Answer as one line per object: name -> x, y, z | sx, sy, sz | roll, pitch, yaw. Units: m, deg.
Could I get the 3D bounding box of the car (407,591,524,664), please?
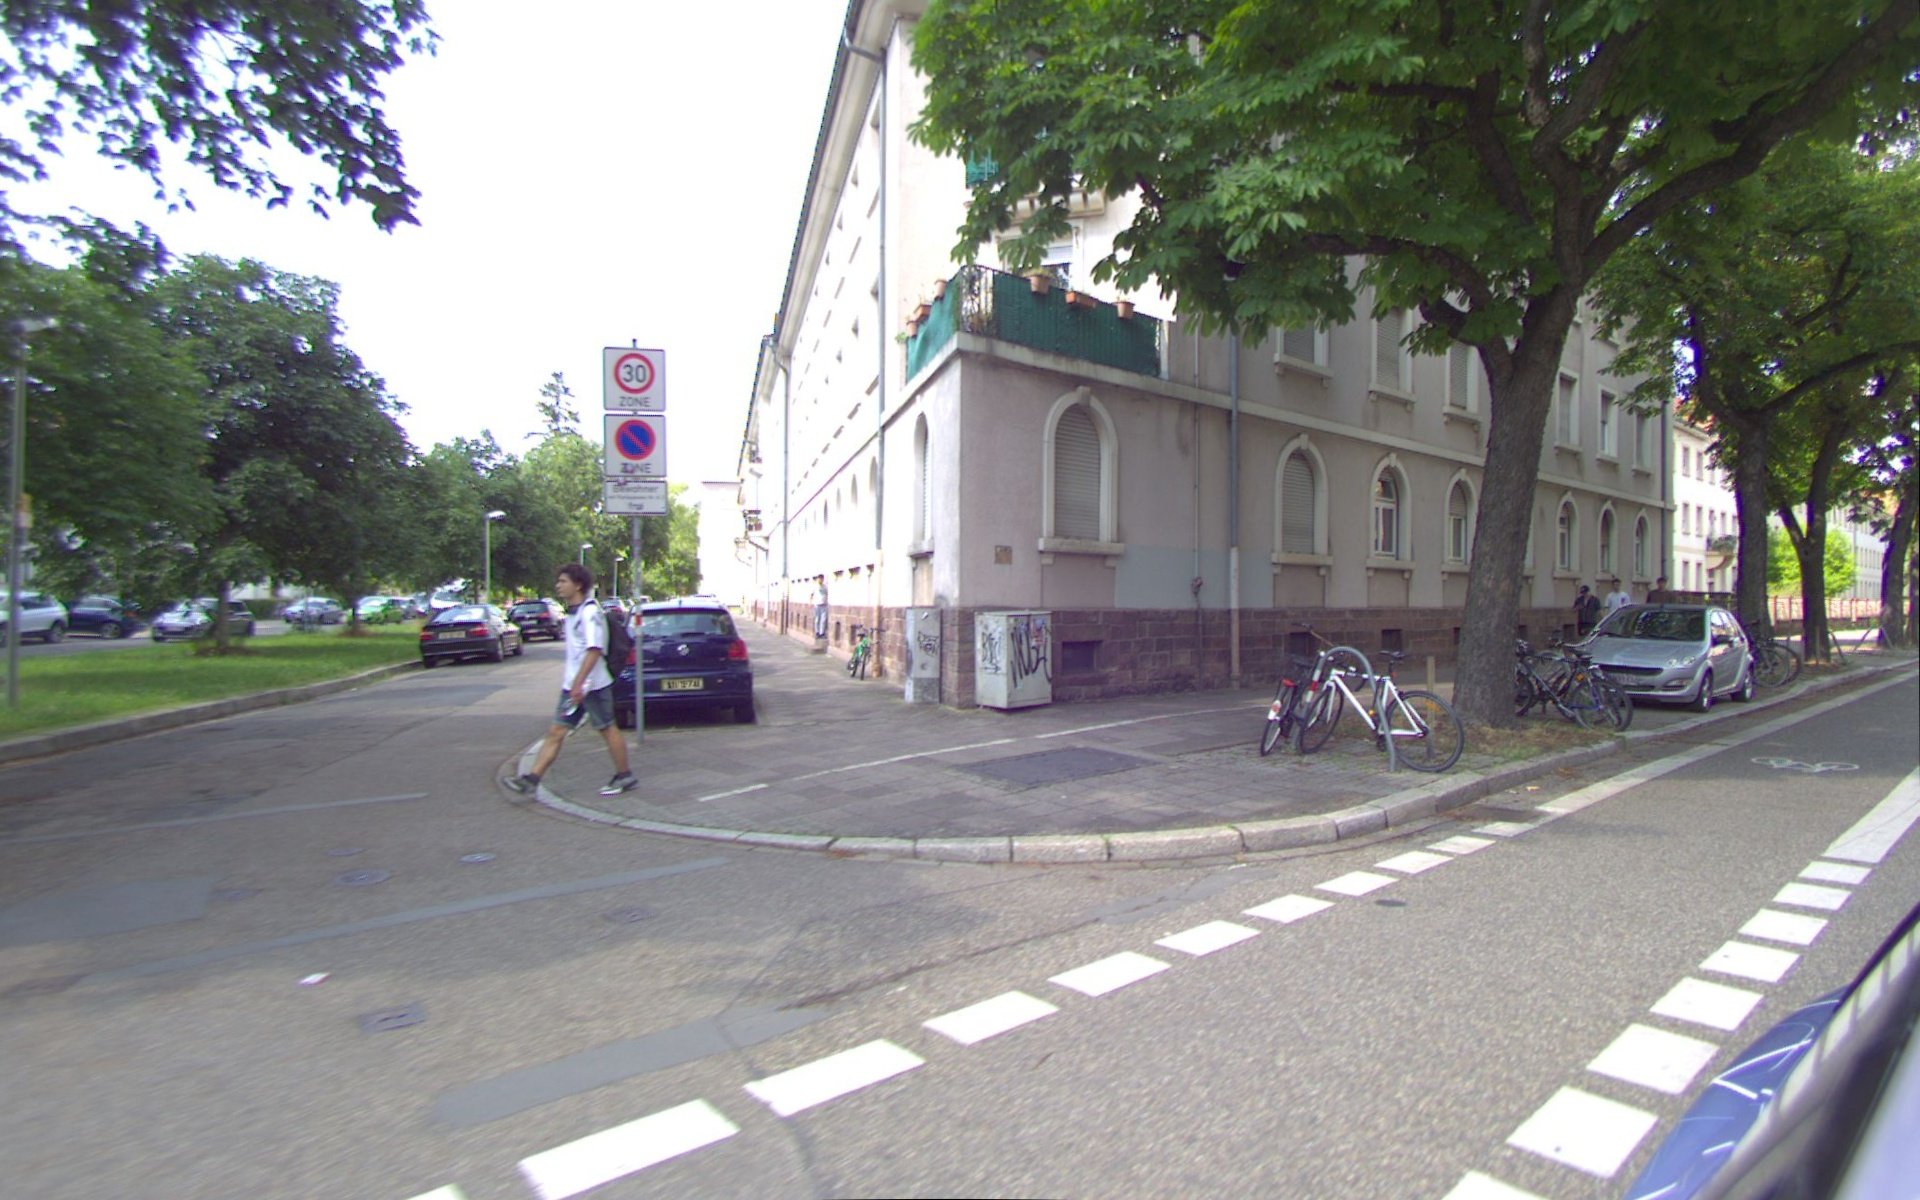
car -> -11.942, 0.596, 24.686 | 1.696, 1.530, 3.940 | -3, 1, -14

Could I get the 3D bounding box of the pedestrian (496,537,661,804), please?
pedestrian -> -2.862, 0.485, 7.615 | 1.012, 1.857, 0.619 | 0, 0, -41

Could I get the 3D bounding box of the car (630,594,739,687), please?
car -> -4.934, 0.629, 18.387 | 1.695, 1.470, 4.265 | 0, 0, -14

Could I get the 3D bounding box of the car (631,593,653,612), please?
car -> -26.490, 0.217, 84.421 | 1.613, 1.515, 4.008 | -1, 0, -15

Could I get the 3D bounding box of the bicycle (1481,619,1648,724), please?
bicycle -> 6.916, 0.789, 11.656 | 0.342, 1.084, 1.652 | 0, 0, -36

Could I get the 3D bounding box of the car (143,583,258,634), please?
car -> -24.971, 0.248, 33.427 | 1.694, 1.517, 3.627 | 3, 0, -14

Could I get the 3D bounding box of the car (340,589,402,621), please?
car -> -29.701, 0.233, 51.103 | 1.694, 1.517, 3.627 | 3, 0, -14

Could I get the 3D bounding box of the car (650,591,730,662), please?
car -> -6.374, 0.563, 24.062 | 1.695, 1.530, 3.940 | 0, 0, -14

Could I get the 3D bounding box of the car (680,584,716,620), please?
car -> -13.478, 0.090, 52.177 | 1.695, 1.757, 3.940 | 0, 0, -14

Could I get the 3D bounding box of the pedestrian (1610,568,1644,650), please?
pedestrian -> 15.483, 0.204, 23.493 | 0.675, 1.876, 0.505 | 0, 0, -41

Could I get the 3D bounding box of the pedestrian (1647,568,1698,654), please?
pedestrian -> 16.184, 0.243, 22.985 | 0.870, 1.913, 0.755 | 0, 0, -41

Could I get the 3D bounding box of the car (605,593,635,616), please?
car -> -22.760, 0.295, 67.860 | 1.613, 1.515, 4.008 | -1, 0, -15

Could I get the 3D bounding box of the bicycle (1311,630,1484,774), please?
bicycle -> 3.678, 0.819, 8.568 | 0.470, 1.079, 1.270 | 0, 0, -41

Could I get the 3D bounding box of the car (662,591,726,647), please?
car -> -7.732, 0.503, 29.592 | 1.695, 1.530, 3.940 | 0, 0, -14

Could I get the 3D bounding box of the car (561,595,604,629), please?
car -> -18.079, 0.539, 48.548 | 1.613, 1.515, 4.008 | -1, 0, -16

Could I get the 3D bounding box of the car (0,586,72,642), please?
car -> -29.967, 0.398, 31.426 | 1.858, 1.598, 4.075 | 3, 0, -14

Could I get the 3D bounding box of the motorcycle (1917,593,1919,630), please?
motorcycle -> 40.054, 0.491, 40.971 | 0.796, 1.512, 2.068 | 0, 0, 5

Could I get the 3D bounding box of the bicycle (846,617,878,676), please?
bicycle -> -1.545, 0.712, 15.900 | 0.339, 0.854, 1.209 | 0, 0, -13

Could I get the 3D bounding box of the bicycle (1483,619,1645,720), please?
bicycle -> 7.115, 0.785, 11.992 | 0.342, 1.084, 1.652 | 0, 0, -36

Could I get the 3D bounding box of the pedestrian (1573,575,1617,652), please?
pedestrian -> 14.043, 0.297, 22.388 | 0.959, 1.660, 0.581 | 0, 0, -41

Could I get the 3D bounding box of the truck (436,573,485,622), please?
truck -> -32.267, -0.203, 65.502 | 1.821, 2.990, 4.267 | 3, 0, -14

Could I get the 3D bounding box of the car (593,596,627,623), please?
car -> -20.728, 0.539, 60.013 | 1.613, 1.515, 4.008 | -1, 0, -15

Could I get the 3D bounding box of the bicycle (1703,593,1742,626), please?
bicycle -> 28.696, 0.342, 38.056 | 2.553, 1.206, 0.653 | -1, 0, -41

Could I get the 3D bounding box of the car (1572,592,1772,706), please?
car -> 10.611, 0.629, 14.988 | 3.830, 1.463, 1.588 | 0, 0, -41

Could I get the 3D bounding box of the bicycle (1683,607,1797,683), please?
bicycle -> 13.607, 0.758, 17.692 | 0.508, 1.236, 1.493 | -1, 1, -34

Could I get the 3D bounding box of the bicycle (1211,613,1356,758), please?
bicycle -> 2.994, 0.721, 9.258 | 0.584, 1.173, 1.809 | 0, 0, 42

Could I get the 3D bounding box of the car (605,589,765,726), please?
car -> -3.544, 0.594, 12.825 | 1.695, 1.470, 3.582 | 0, 0, -18

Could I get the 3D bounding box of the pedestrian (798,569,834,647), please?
pedestrian -> -3.467, 0.189, 24.327 | 0.810, 1.857, 0.732 | 0, 0, -10

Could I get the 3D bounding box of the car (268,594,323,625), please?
car -> -35.544, 0.480, 54.224 | 1.357, 1.517, 3.340 | 3, 0, -14

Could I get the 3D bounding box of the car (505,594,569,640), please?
car -> -14.844, 0.564, 35.706 | 1.613, 1.515, 4.008 | -1, 0, -16

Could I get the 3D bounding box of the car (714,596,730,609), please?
car -> -25.403, 0.229, 107.958 | 1.695, 1.368, 3.940 | 0, 0, -14

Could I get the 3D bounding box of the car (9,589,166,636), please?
car -> -31.739, 0.466, 36.954 | 3.835, 1.517, 1.902 | 3, 0, -20

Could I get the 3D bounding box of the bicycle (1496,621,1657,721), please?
bicycle -> 7.388, 0.817, 12.193 | 0.342, 1.084, 1.651 | 0, 0, -37

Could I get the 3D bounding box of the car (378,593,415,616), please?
car -> -39.133, 0.310, 70.381 | 1.357, 1.517, 3.340 | 3, 0, -14

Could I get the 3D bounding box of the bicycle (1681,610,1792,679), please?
bicycle -> 13.951, 0.774, 18.215 | 0.508, 1.167, 1.493 | 0, 0, -34
